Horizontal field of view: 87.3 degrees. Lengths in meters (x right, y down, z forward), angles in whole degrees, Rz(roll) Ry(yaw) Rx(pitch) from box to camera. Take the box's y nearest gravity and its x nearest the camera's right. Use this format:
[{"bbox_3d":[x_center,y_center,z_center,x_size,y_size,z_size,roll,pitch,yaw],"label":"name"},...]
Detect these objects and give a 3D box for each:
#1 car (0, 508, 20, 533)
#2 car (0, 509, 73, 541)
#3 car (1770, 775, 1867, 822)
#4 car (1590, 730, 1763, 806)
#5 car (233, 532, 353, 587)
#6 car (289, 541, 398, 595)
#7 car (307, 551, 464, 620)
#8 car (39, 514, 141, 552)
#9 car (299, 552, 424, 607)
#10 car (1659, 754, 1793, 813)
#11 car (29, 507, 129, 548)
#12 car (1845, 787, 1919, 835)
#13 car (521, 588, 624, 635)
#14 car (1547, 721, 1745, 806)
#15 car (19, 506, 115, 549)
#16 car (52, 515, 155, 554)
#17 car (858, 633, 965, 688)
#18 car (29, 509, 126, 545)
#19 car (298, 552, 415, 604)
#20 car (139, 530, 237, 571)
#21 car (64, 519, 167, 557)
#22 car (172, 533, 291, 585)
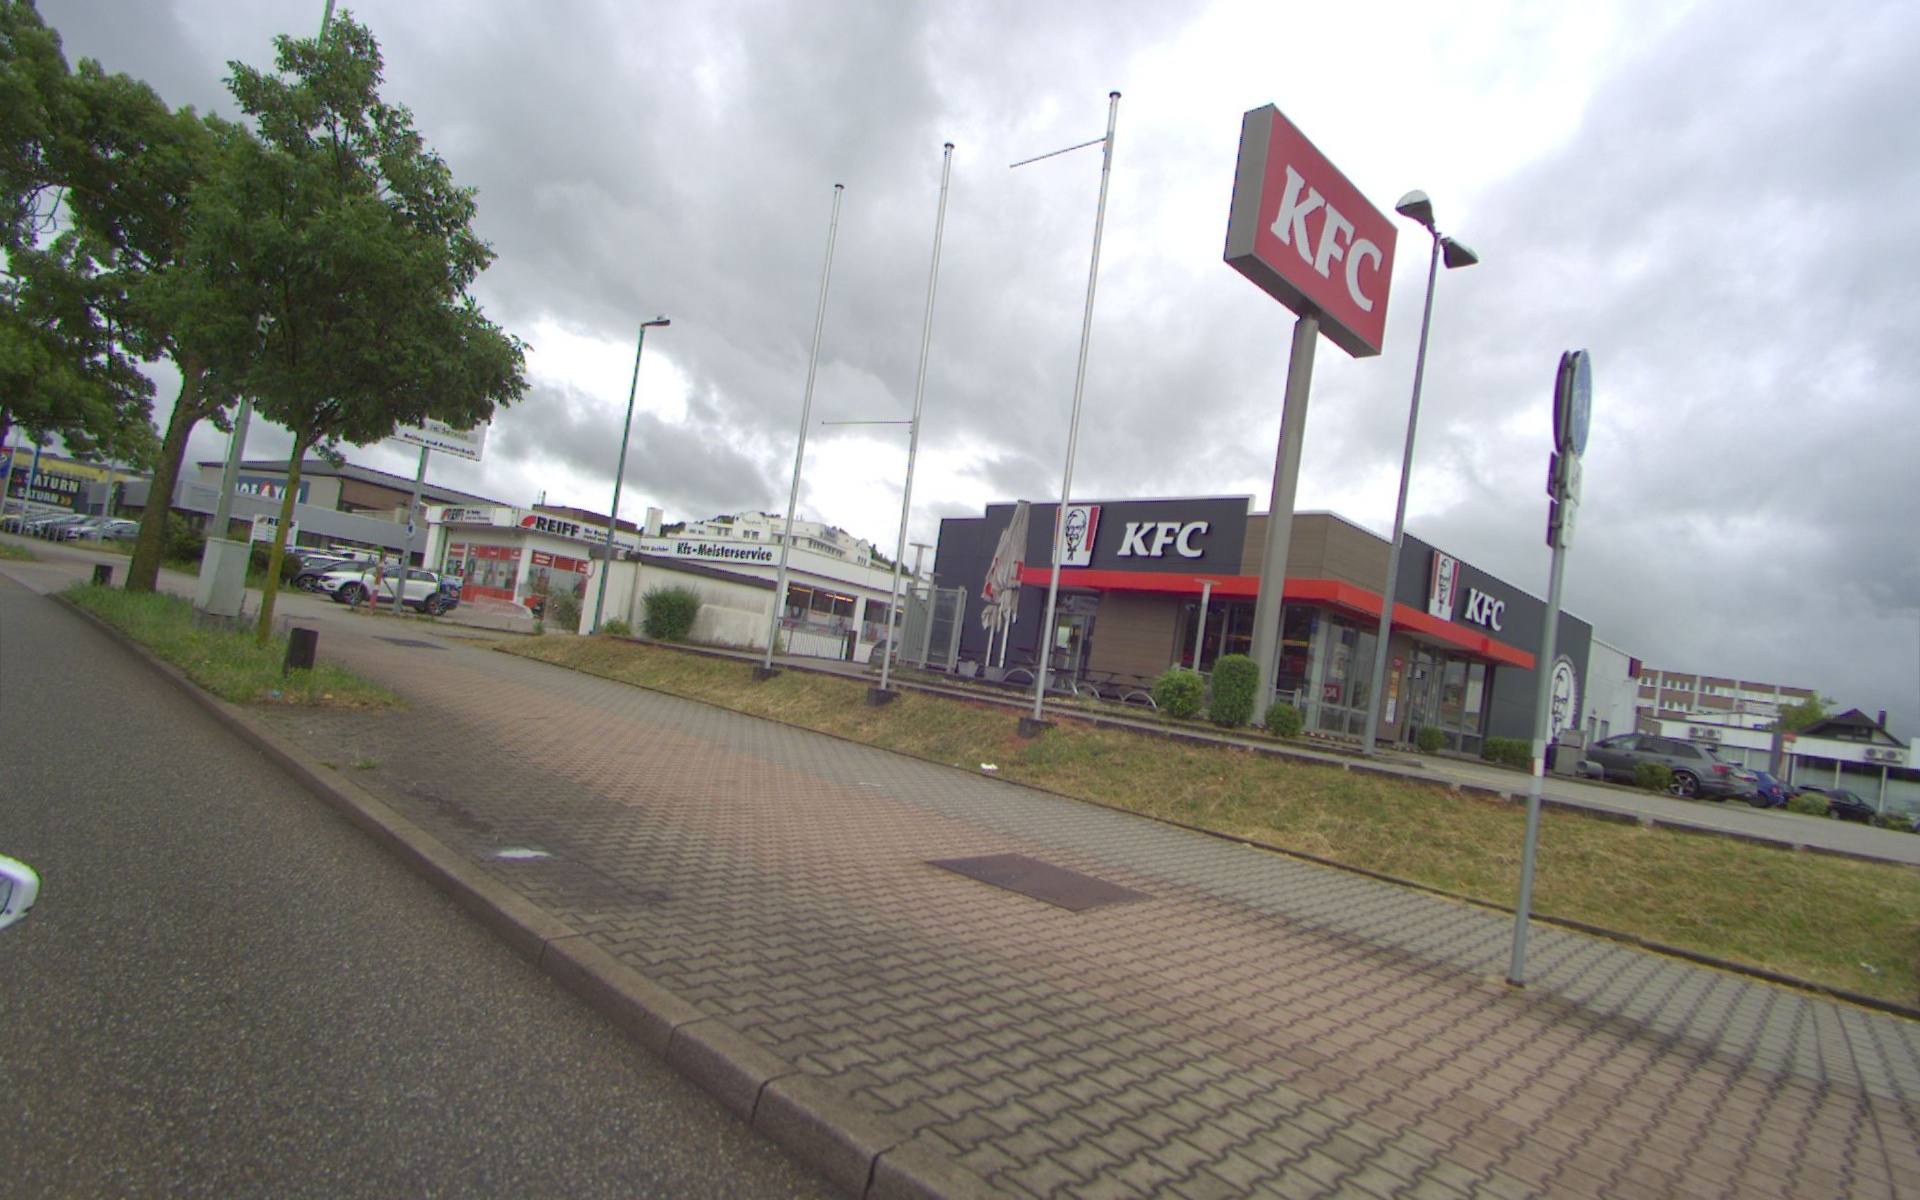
[{"bbox_3d":[-69.660,-5.876,71.476,1.768,1.622,3.842,6,-2,37],"label":"car"},{"bbox_3d":[-60.665,-4.906,65.635,1.640,1.585,3.840,6,0,34],"label":"car"},{"bbox_3d":[40.437,9.343,47.416,3.312,1.568,1.561,9,-3,-7],"label":"car"},{"bbox_3d":[24.447,5.706,34.426,4.445,1.759,1.884,6,-4,45],"label":"car"},{"bbox_3d":[-29.570,-1.800,44.780,4.113,1.681,1.808,10,-1,-29],"label":"car"},{"bbox_3d":[-34.813,-1.765,56.890,1.935,2.173,4.659,6,-4,37],"label":"car"},{"bbox_3d":[-19.453,-0.469,34.164,4.169,1.568,1.866,12,-4,-44],"label":"car"},{"bbox_3d":[-48.681,-3.735,56.342,1.786,1.604,3.983,6,0,39],"label":"car"},{"bbox_3d":[-23.859,-0.813,40.155,3.971,1.539,1.700,10,-3,-38],"label":"car"},{"bbox_3d":[30.172,7.184,39.668,3.981,1.502,1.734,6,-3,42],"label":"car"},{"bbox_3d":[-50.442,-4.112,57.649,1.786,1.809,3.982,6,0,39],"label":"car"},{"bbox_3d":[42.129,9.575,45.189,3.311,1.568,1.562,10,-3,-4],"label":"car"},{"bbox_3d":[-17.474,0.533,45.445,1.761,1.494,3.850,6,-5,39],"label":"car"},{"bbox_3d":[21.193,5.027,31.206,4.682,1.759,1.884,6,-4,45],"label":"car"},{"bbox_3d":[-54.280,-4.381,61.186,1.786,1.806,3.989,6,-4,39],"label":"car"},{"bbox_3d":[-46.863,-3.564,55.095,1.786,1.563,3.983,6,0,39],"label":"car"},{"bbox_3d":[-2.007,2.580,42.771,4.155,1.719,1.881,11,-4,-42],"label":"car"},{"bbox_3d":[-52.230,-4.300,59.590,1.784,1.608,3.985,7,1,36],"label":"car"},{"bbox_3d":[-25.321,-0.906,42.263,3.912,1.540,1.715,10,-3,-38],"label":"car"},{"bbox_3d":[-40.952,-2.595,53.421,1.767,1.480,3.682,6,-3,37],"label":"car"},{"bbox_3d":[-44.833,-3.300,53.480,1.800,1.479,3.832,6,0,36],"label":"car"},{"bbox_3d":[-32.685,-1.812,45.268,4.031,1.615,1.968,10,-3,-32],"label":"car"}]
